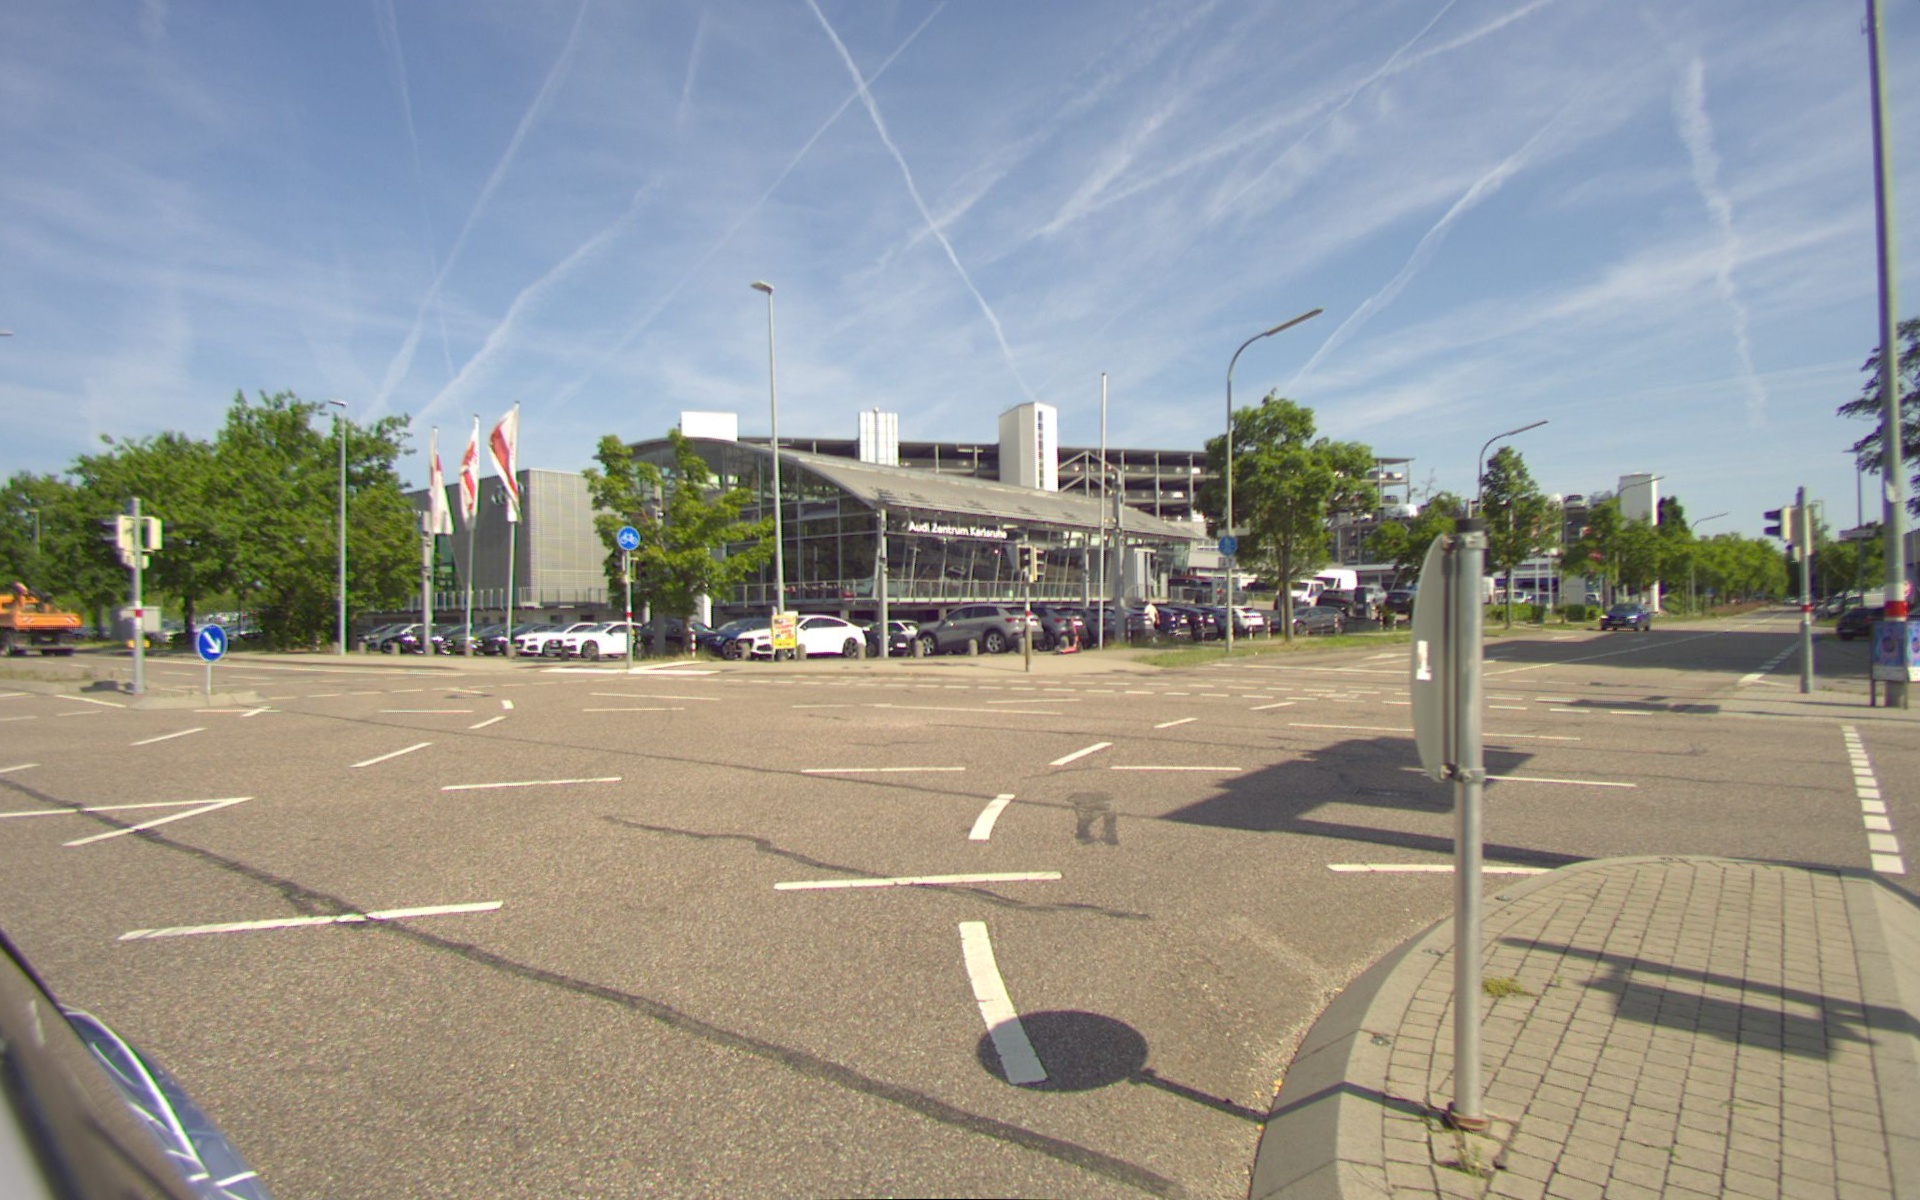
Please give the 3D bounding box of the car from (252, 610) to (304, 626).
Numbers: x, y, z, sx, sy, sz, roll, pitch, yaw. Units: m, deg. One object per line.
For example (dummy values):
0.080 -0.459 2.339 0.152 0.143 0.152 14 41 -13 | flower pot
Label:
-70.393 1.915 104.469 1.688 1.511 4.145 -2 -4 39 | car

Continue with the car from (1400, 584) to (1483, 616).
32.692 0.020 68.789 4.743 2.029 1.975 -2 -1 37 | car

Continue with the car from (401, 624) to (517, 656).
-22.273 1.823 45.135 1.826 1.365 4.241 -2 -3 36 | car

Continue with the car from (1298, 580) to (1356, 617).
25.161 -0.152 69.257 2.086 2.360 5.480 -2 0 38 | car

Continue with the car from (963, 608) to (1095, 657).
2.324 1.132 34.750 4.193 1.453 1.771 -5 -3 37 | car

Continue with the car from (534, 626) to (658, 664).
-13.675 1.713 38.241 1.875 1.380 4.034 -2 -4 37 | car

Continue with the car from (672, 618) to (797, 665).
-7.369 1.326 33.353 1.760 1.413 3.800 -2 -1 36 | car

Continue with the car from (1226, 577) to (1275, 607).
23.457 -0.598 81.577 2.156 2.295 4.630 -2 -1 38 | car

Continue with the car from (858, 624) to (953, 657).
-2.462 1.810 45.345 4.058 1.388 1.771 -1 -1 37 | car

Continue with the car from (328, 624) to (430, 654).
-28.704 1.969 50.086 1.806 1.413 3.987 -2 -3 36 | car

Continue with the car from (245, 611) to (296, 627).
-72.143 2.006 105.941 1.688 1.511 4.145 -2 -4 39 | car

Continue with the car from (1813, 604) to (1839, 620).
98.364 1.343 114.955 2.035 1.729 3.948 -1 -1 39 | car

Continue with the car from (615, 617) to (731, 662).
-10.409 1.414 36.517 4.419 1.507 1.780 -2 -1 38 | car

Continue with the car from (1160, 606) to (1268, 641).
11.927 1.113 47.667 4.551 1.453 1.771 -4 -3 37 | car

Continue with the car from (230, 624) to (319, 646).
-41.362 2.156 61.122 1.688 1.256 4.145 -2 -4 39 | car

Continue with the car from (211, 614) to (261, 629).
-80.591 2.372 112.676 1.688 1.511 4.145 -2 -4 39 | car

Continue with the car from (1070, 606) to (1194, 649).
6.987 1.131 41.415 4.667 1.529 1.761 -4 -3 37 | car

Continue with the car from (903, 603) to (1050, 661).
0.485 1.071 32.826 4.589 1.626 1.796 -5 -3 39 | car

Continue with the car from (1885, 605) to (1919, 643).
38.125 0.872 38.744 3.939 1.426 1.722 -1 -1 -5 | car

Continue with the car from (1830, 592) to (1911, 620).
65.859 0.471 73.297 4.234 1.954 1.875 -1 -1 38 | car

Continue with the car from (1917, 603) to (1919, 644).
36.803 0.791 36.023 3.939 1.491 1.691 -1 -1 -5 | car

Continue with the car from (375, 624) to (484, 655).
-24.435 1.855 46.753 1.832 1.365 4.073 -2 -3 36 | car

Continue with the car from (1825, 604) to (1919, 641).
37.814 0.921 41.776 3.553 1.426 1.677 -1 -1 -21 | car

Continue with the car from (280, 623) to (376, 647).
-34.954 1.942 56.086 1.794 1.236 4.145 -2 -4 39 | car

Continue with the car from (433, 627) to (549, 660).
-19.975 1.868 43.244 1.852 1.345 4.136 -2 -4 37 | car

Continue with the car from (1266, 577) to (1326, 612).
19.715 -0.348 59.295 2.084 1.922 4.493 3 3 35 | car

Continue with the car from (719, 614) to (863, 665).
-5.262 1.207 32.014 1.898 1.443 4.329 -2 -1 39 | car

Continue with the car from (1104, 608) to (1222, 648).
8.657 1.212 43.377 4.624 1.453 1.771 -5 -3 37 | car

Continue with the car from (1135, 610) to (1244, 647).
10.291 1.280 45.533 4.395 1.453 1.771 -4 -3 37 | car

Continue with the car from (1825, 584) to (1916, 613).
80.823 -0.129 89.915 5.903 2.450 2.343 -1 -1 42 | car

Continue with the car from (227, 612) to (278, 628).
-76.638 2.193 109.693 1.688 1.511 4.145 -2 -4 39 | car

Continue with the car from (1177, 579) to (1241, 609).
17.936 -0.409 72.908 4.063 2.029 1.830 -2 -1 37 | car

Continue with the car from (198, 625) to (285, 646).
-45.388 2.248 63.995 1.688 1.215 4.145 -2 -4 39 | car

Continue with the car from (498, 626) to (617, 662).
-15.776 1.751 39.813 1.866 1.329 3.949 -2 -4 37 | car

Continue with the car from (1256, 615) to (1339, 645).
17.806 1.564 53.374 3.957 1.453 1.803 0 -1 -26 | car

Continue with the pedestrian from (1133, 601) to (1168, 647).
7.420 0.942 39.459 1.002 1.763 0.905 -2 -1 39 | pedestrian

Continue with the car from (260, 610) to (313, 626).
-68.550 1.849 103.043 1.688 1.511 4.145 -2 -4 39 | car

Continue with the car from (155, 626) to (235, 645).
-53.467 2.502 70.762 1.688 1.265 4.145 -2 -4 39 | car

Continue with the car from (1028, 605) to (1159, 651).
5.135 1.107 39.289 4.769 1.517 1.771 -5 -3 37 | car

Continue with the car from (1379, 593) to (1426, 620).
28.829 0.424 65.828 1.996 1.586 3.938 -2 0 35 | car

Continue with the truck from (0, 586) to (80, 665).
-46.956 1.280 51.041 7.572 3.708 2.719 -1 -1 40 | truck

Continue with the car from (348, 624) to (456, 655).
-26.605 1.927 48.364 1.799 1.405 4.176 -2 -4 37 | car

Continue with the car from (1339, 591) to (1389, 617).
27.036 0.262 67.664 1.998 1.586 3.935 -2 0 38 | car

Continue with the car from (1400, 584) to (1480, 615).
33.638 -0.026 70.951 4.743 2.029 1.975 -2 -1 37 | car

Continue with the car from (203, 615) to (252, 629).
-82.645 2.486 114.242 1.688 1.511 4.145 -2 -4 39 | car

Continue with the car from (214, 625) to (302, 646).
-43.387 2.200 62.578 1.688 1.204 4.145 -2 -4 39 | car

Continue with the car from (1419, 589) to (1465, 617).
30.702 0.186 64.423 1.996 1.586 3.938 -2 1 35 | car

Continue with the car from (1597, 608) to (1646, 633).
36.015 1.100 55.092 1.659 1.299 3.751 -1 -1 42 | car

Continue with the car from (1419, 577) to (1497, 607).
35.907 -0.549 72.966 4.743 2.029 1.975 -2 -1 37 | car

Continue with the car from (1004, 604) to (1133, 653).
3.931 1.065 37.037 4.368 1.556 1.771 -5 -3 37 | car

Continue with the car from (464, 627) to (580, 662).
-17.832 1.834 41.348 1.835 1.329 3.948 -2 -4 39 | car
